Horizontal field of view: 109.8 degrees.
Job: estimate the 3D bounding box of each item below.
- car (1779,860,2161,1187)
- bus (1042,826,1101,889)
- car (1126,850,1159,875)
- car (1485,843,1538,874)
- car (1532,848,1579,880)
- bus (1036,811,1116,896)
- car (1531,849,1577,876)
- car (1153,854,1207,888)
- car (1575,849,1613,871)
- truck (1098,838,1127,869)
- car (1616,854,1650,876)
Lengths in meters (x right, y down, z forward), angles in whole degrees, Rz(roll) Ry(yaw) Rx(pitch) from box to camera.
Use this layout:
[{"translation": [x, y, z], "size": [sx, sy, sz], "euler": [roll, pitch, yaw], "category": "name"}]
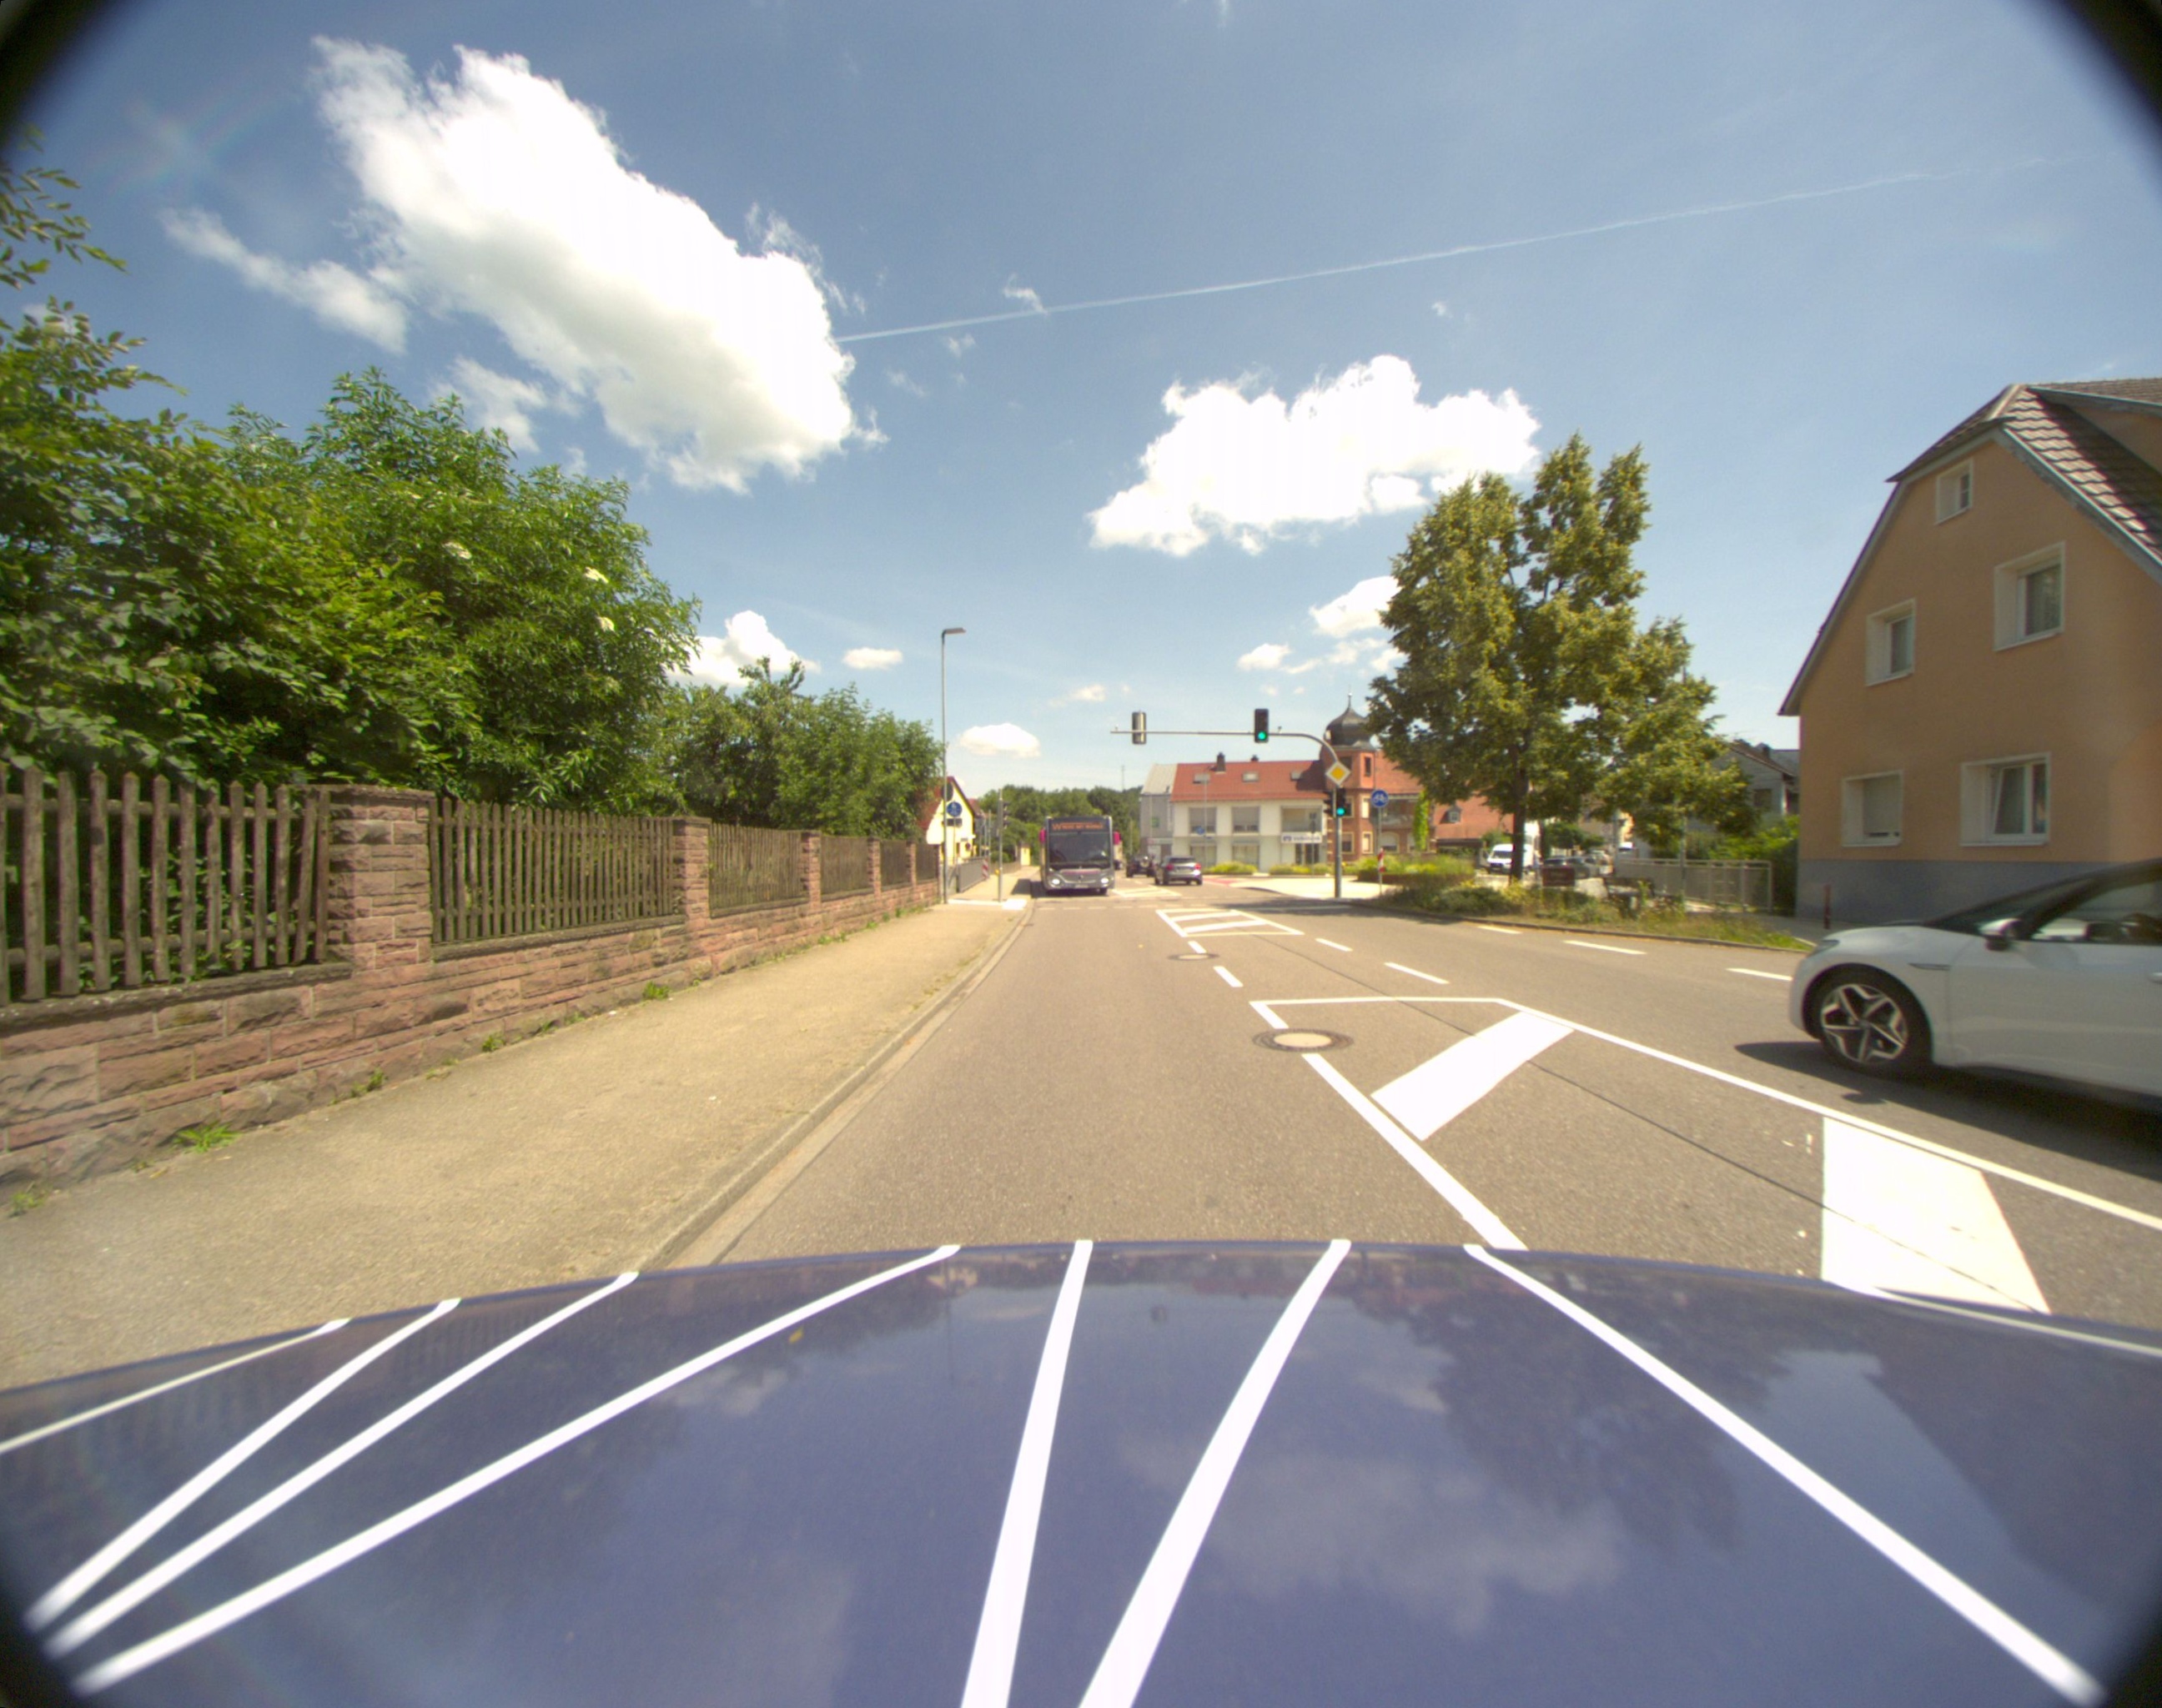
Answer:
[{"translation": [6.006, 0.834, 3.460], "size": [1.800, 1.499, 4.133], "euler": [1, 1, 0], "category": "car"}, {"translation": [-0.608, 0.282, 40.883], "size": [2.756, 2.949, 9.281], "euler": [1, -2, -2], "category": "bus"}, {"translation": [4.195, 0.587, 52.436], "size": [1.744, 1.641, 3.667], "euler": [0, 0, -4], "category": "car"}, {"translation": [35.008, 0.344, 61.708], "size": [5.123, 2.332, 2.167], "euler": [0, 1, -41], "category": "car"}, {"translation": [30.373, 0.623, 48.623], "size": [1.994, 2.002, 4.009], "euler": [0, 0, 40], "category": "car"}, {"translation": [-0.317, 0.113, 31.580], "size": [2.756, 2.949, 9.281], "euler": [1, -2, -2], "category": "bus"}, {"translation": [43.029, 0.725, 69.089], "size": [5.123, 2.332, 2.167], "euler": [0, 1, -41], "category": "car"}, {"translation": [4.718, 0.783, 36.727], "size": [1.868, 1.434, 4.215], "euler": [1, 1, -2], "category": "car"}, {"translation": [56.562, 0.668, 83.753], "size": [5.123, 2.332, 2.167], "euler": [0, 1, -41], "category": "car"}, {"translation": [3.324, -0.088, 81.499], "size": [2.509, 3.217, 6.038], "euler": [1, 1, -2], "category": "truck"}, {"translation": [46.695, 0.884, 64.278], "size": [2.063, 1.718, 4.009], "euler": [2, 1, 39], "category": "car"}]
